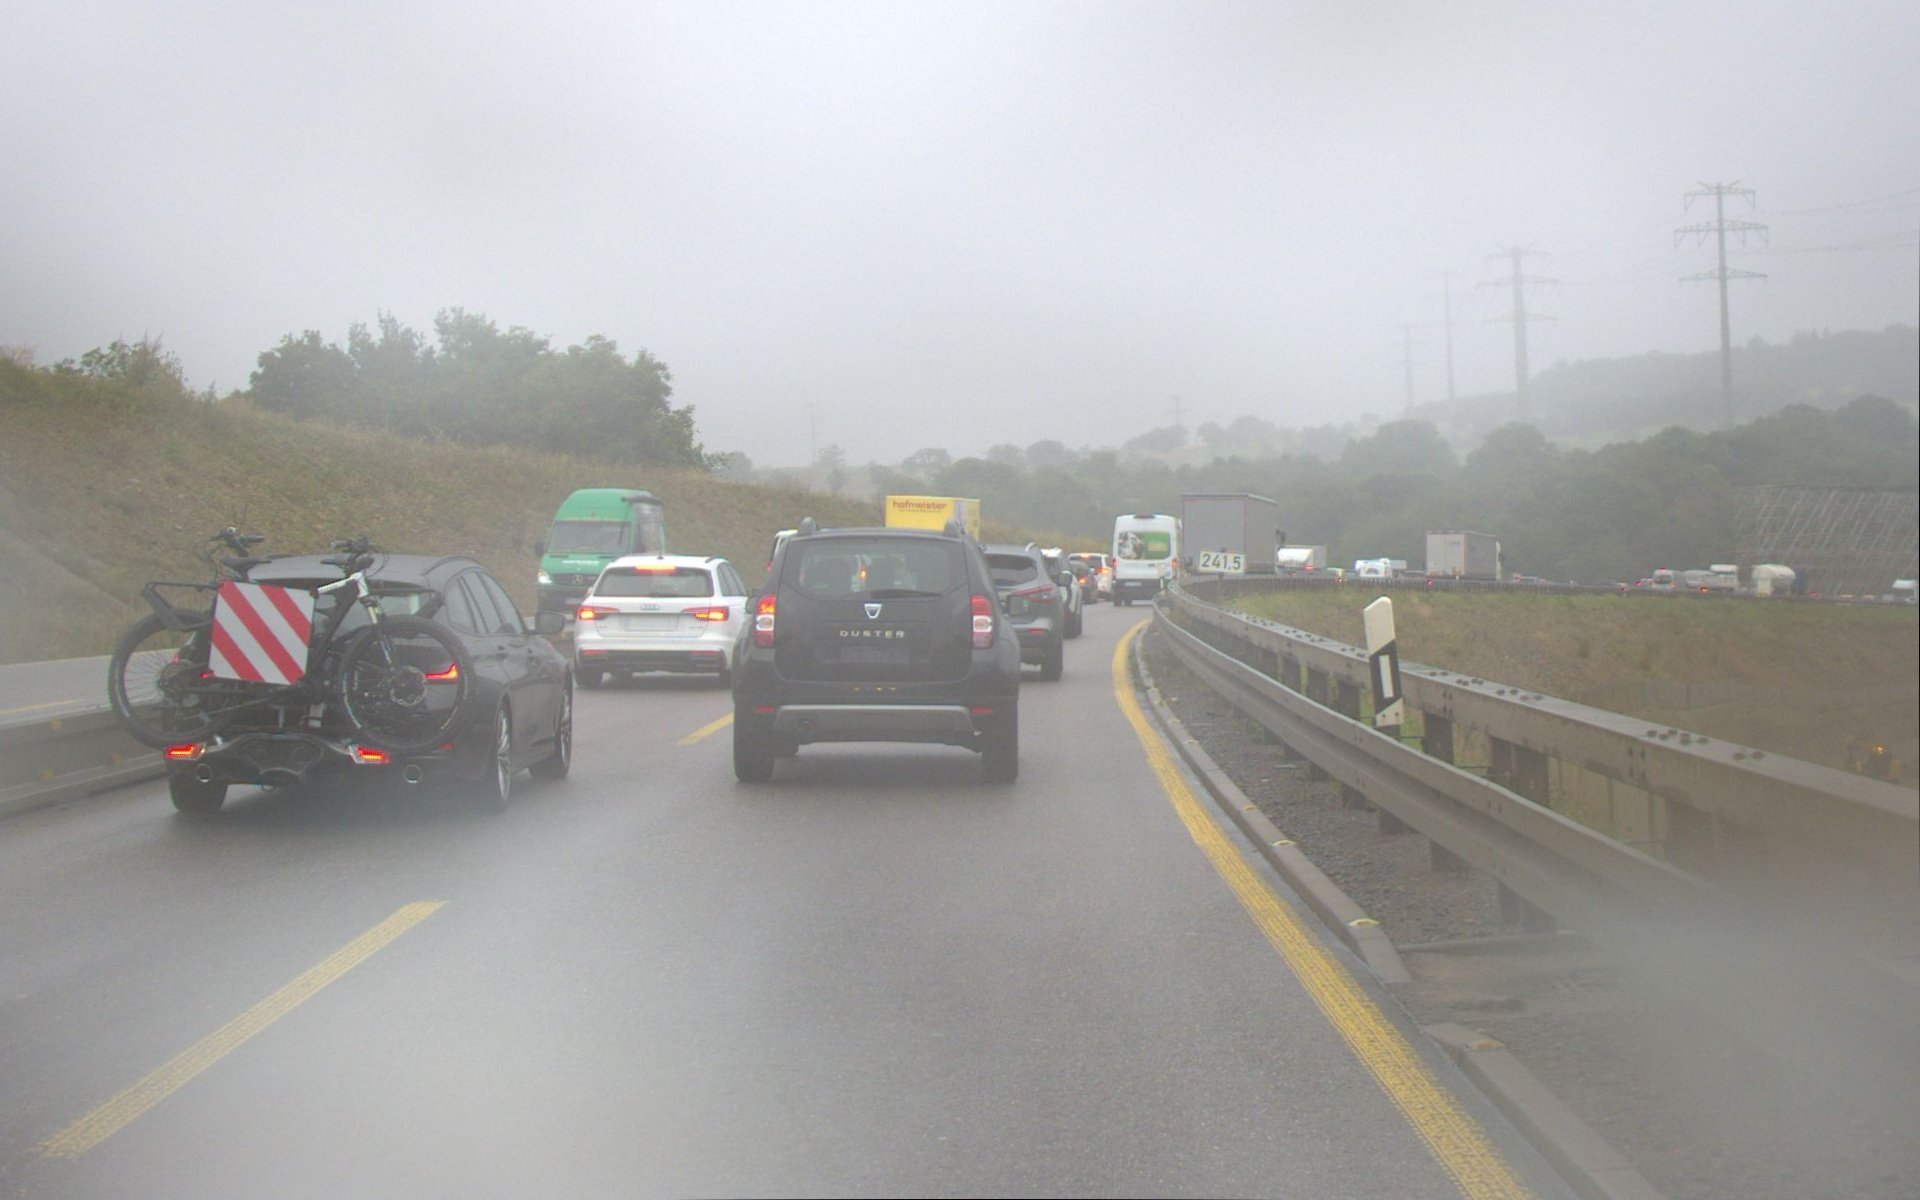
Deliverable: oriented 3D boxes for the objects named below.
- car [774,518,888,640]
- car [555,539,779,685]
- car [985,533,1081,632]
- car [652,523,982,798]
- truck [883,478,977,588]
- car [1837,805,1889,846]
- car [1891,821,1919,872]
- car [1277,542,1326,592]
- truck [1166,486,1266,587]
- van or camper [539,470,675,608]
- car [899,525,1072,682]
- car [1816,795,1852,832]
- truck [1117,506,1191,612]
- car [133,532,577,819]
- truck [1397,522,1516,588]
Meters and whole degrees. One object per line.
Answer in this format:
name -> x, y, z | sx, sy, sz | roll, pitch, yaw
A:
car -> -2.082, -0.368, 56.246 | 1.660, 1.873, 4.020 | 2, 1, 0
car -> -3.161, 0.088, 37.945 | 1.868, 1.455, 4.548 | 2, 1, 2
car -> 1.246, -0.334, 60.067 | 1.530, 1.635, 4.013 | 2, 1, 0
car -> -0.852, 0.341, 22.593 | 1.804, 1.640, 3.776 | 0, 1, 3
truck -> -1.080, -2.520, 130.478 | 2.769, 3.983, 8.421 | 1, 1, 5
car -> 46.876, 11.682, 178.501 | 1.994, 1.809, 3.999 | 1, 1, 6
car -> 45.184, 11.555, 160.882 | 2.365, 2.007, 4.000 | 2, 1, 4
car -> 13.605, -1.311, 136.949 | 1.775, 1.909, 3.999 | 2, 1, 8
truck -> 10.051, -2.461, 134.014 | 3.201, 3.748, 8.506 | 2, 1, 8
van or camper -> -7.541, -1.307, 74.094 | 2.100, 2.808, 5.943 | 2, 1, 2
car -> 0.351, 0.004, 40.322 | 1.868, 1.702, 4.000 | 1, 1, 2
car -> 56.506, 13.787, 222.167 | 1.995, 2.007, 3.997 | 2, 1, 17
truck -> 6.007, -1.288, 106.838 | 2.149, 3.155, 6.459 | 2, 1, 3
car -> -3.346, 0.366, 19.700 | 1.829, 1.471, 3.776 | 0, 1, 1
truck -> 32.858, -2.937, 226.696 | 4.722, 4.135, 15.667 | 2, 1, 19
